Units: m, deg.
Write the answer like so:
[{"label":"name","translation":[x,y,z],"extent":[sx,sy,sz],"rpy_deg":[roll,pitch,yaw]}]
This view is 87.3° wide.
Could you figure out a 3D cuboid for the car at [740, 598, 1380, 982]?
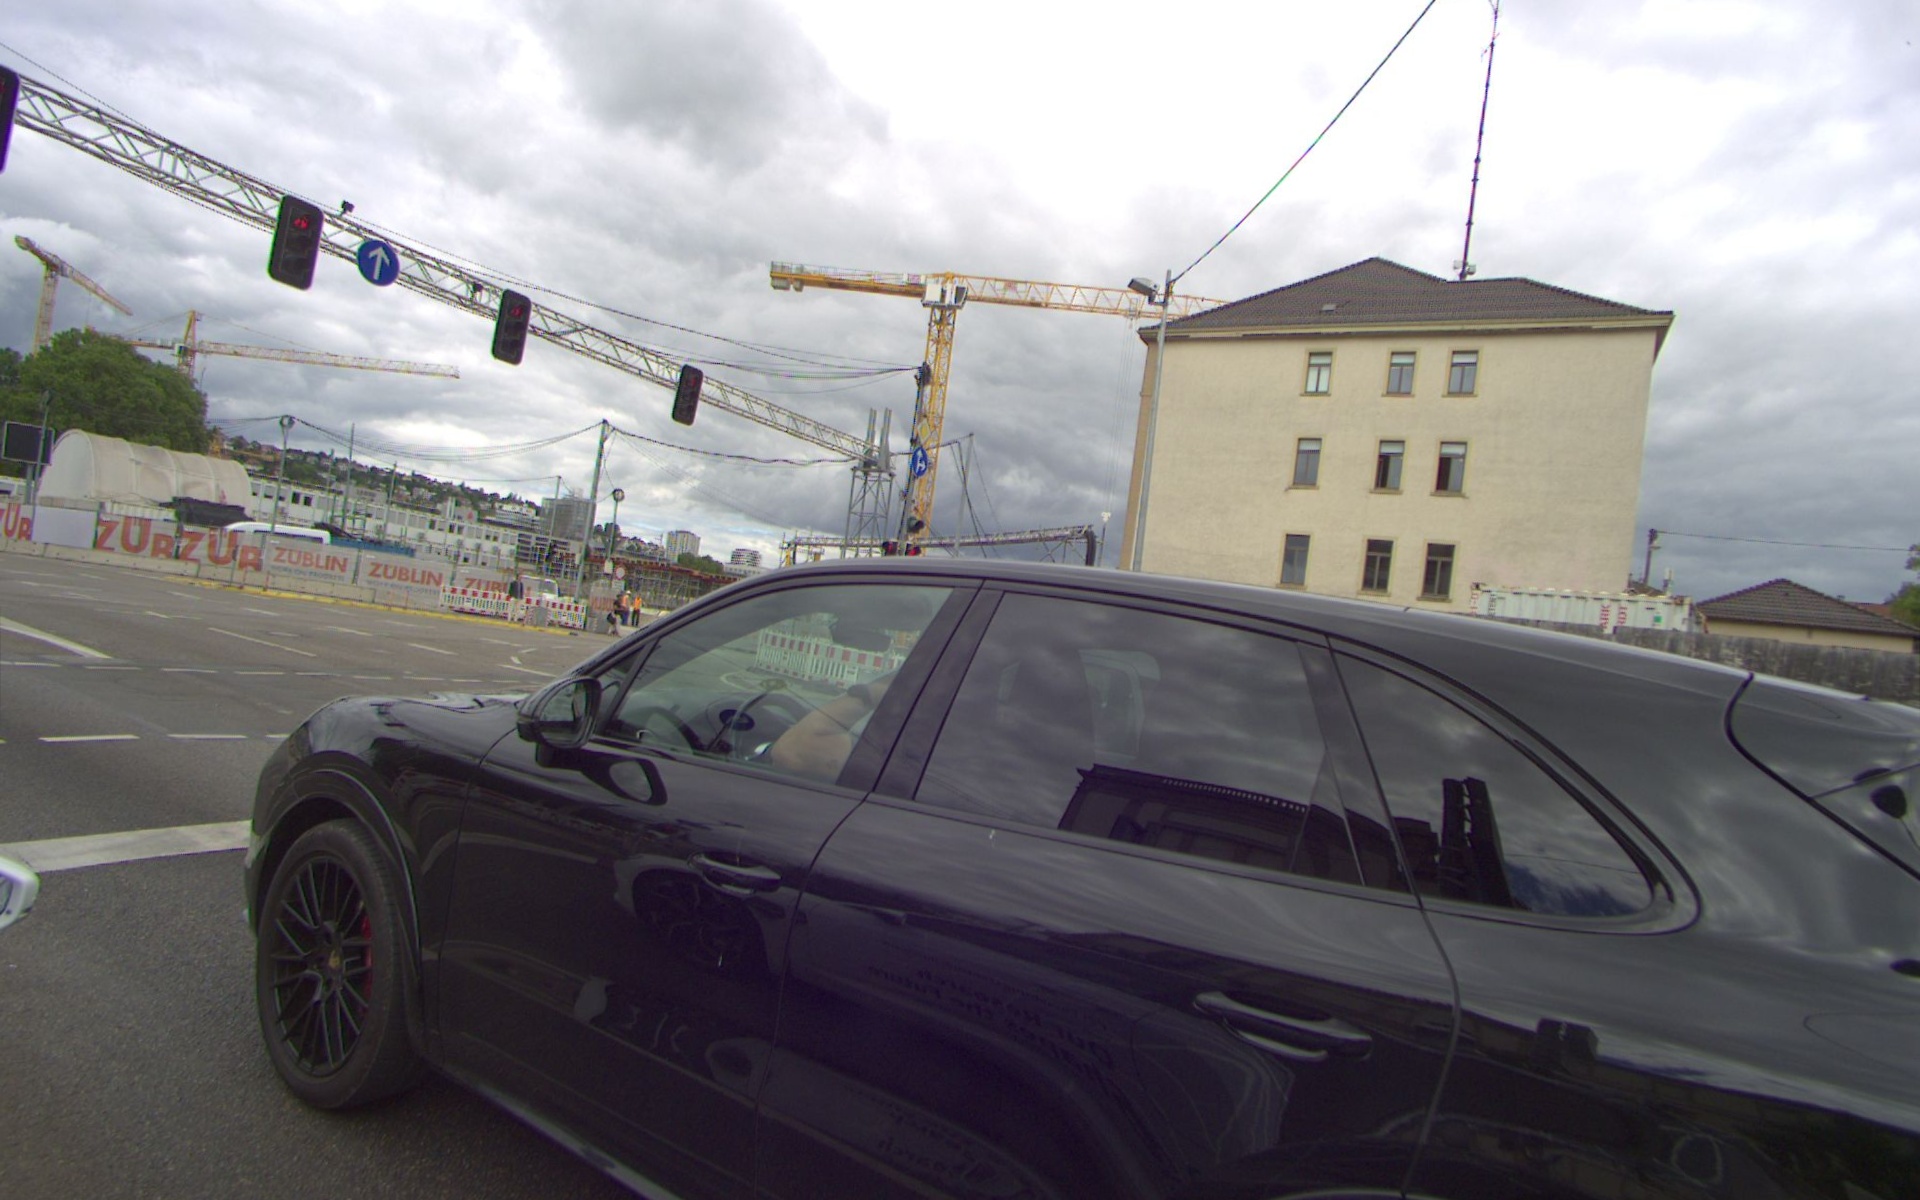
[{"label":"car","translation":[0.580,0.995,6.556],"extent":[3.587,1.527,1.825],"rpy_deg":[6,-2,33]}]

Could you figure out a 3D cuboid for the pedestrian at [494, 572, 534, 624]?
[{"label":"pedestrian","translation":[-17.396,-0.062,39.222],"extent":[1.040,1.869,0.781],"rpy_deg":[8,-1,-42]}]

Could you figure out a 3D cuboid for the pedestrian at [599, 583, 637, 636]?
[{"label":"pedestrian","translation":[-13.985,0.388,41.184],"extent":[1.036,2.037,1.026],"rpy_deg":[8,-1,-33]}]

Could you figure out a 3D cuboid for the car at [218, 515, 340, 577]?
[{"label":"car","translation":[-29.526,-2.325,43.645],"extent":[3.976,2.037,1.976],"rpy_deg":[9,-2,-43]}]

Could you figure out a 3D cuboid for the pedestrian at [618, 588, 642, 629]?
[{"label":"pedestrian","translation":[-17.642,0.447,53.828],"extent":[0.855,2.037,0.677],"rpy_deg":[6,-1,44]}]

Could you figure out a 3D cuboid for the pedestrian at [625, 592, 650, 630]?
[{"label":"pedestrian","translation":[-17.491,0.598,54.622],"extent":[0.850,1.938,0.680],"rpy_deg":[7,-1,26]}]

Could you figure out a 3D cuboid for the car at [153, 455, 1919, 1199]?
[{"label":"car","translation":[-0.001,0.685,2.719],"extent":[4.505,1.687,1.997],"rpy_deg":[6,-2,34]}]
